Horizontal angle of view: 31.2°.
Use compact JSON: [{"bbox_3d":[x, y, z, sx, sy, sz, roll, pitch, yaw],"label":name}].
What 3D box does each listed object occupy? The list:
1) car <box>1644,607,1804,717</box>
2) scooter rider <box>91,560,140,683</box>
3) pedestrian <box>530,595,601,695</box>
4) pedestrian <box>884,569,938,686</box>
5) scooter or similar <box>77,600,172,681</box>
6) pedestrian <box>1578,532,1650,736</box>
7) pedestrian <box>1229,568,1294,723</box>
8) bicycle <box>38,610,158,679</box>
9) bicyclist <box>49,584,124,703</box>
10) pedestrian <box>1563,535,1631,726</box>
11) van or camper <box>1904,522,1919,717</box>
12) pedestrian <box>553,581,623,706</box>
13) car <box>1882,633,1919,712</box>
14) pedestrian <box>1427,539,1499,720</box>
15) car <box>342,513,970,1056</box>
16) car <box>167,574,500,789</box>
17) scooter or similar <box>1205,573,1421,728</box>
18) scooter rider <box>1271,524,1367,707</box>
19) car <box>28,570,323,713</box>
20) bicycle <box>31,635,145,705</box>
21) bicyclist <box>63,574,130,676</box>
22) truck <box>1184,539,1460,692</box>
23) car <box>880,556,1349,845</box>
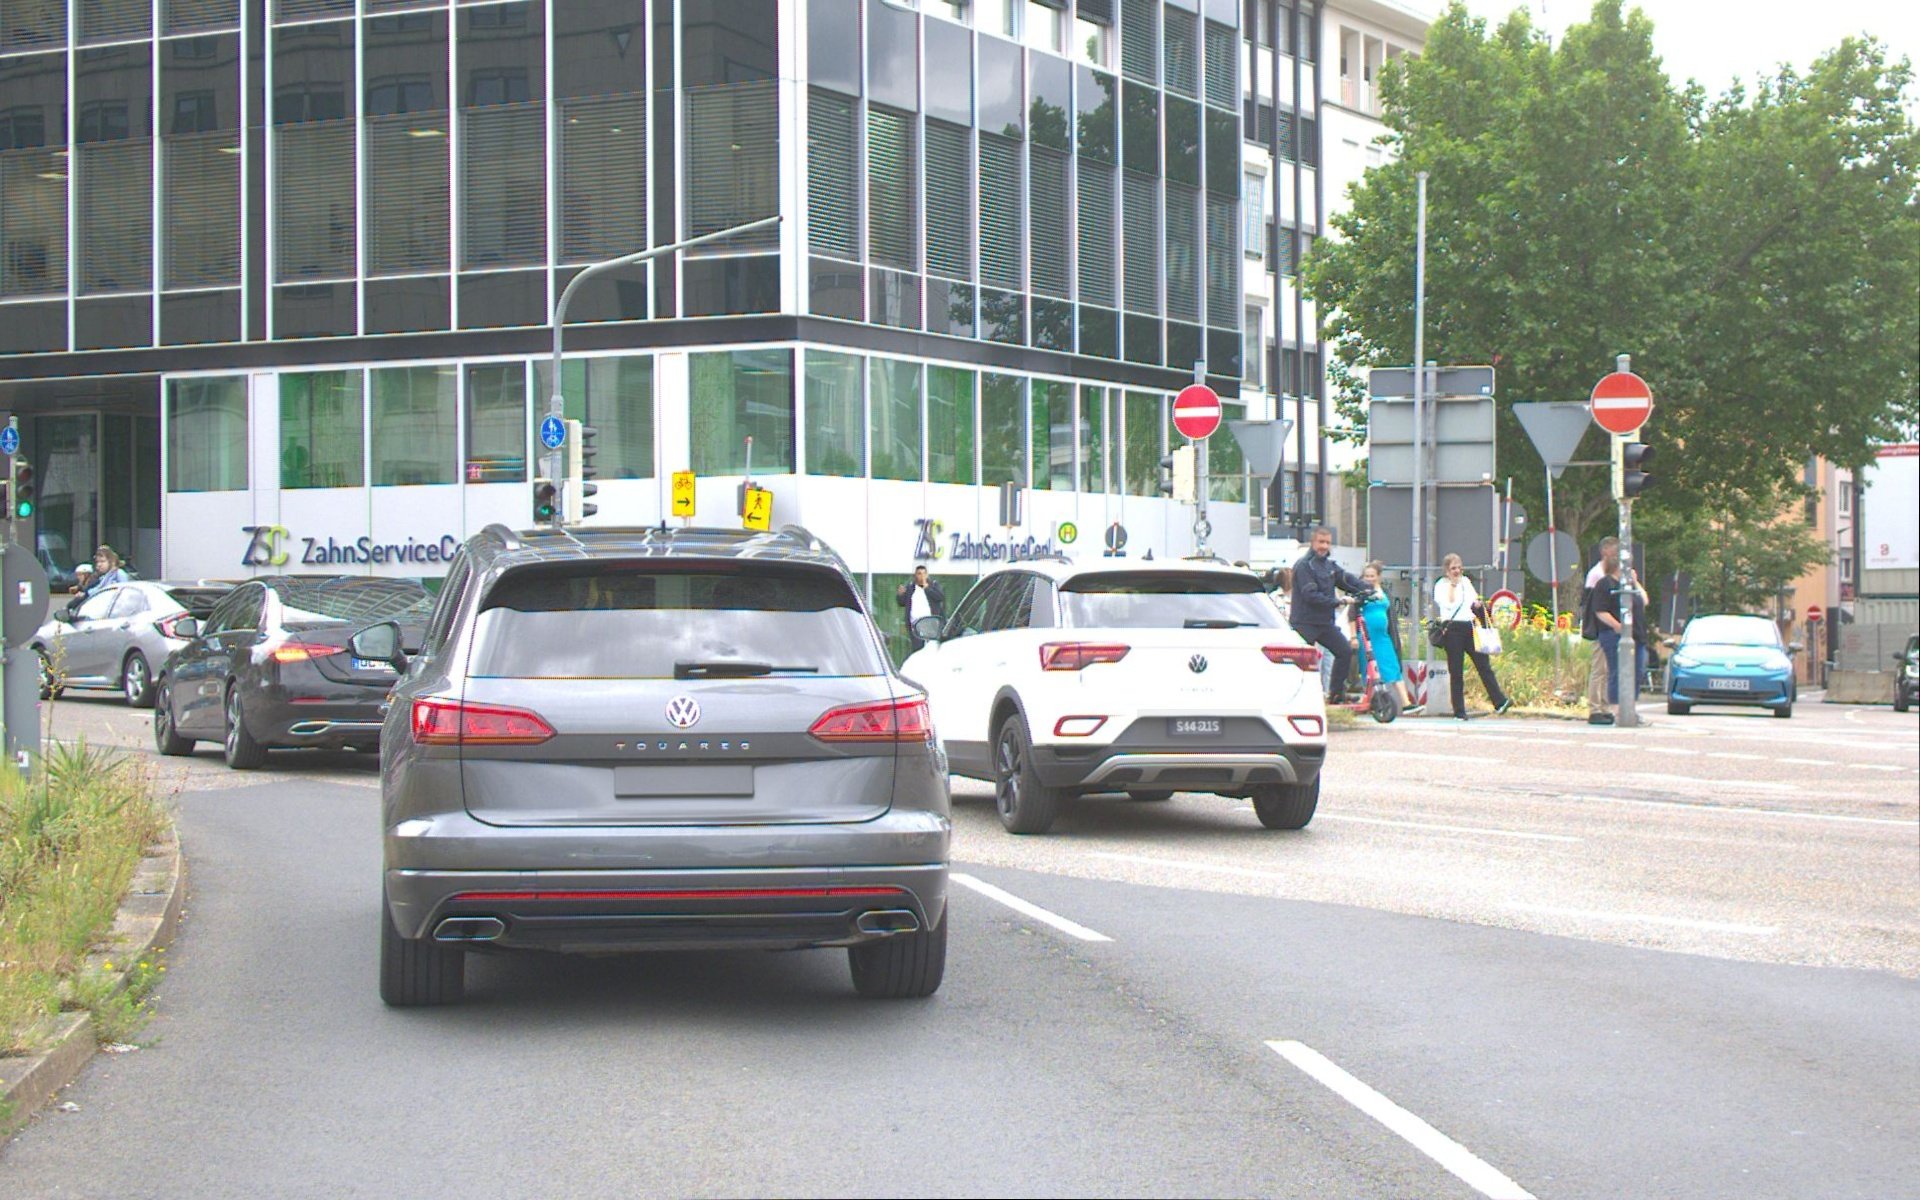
[{"bbox_3d":[11.452,0.895,51.793,1.943,1.477,4.627,0,1,7],"label":"car"},{"bbox_3d":[-12.488,0.310,50.859,0.641,1.802,0.593,0,0,-9],"label":"scooter rider"},{"bbox_3d":[-5.767,0.654,50.286,0.837,1.438,0.605,1,1,28],"label":"pedestrian"},{"bbox_3d":[-0.737,0.408,51.487,0.635,1.742,0.590,1,0,16],"label":"pedestrian"},{"bbox_3d":[-12.362,0.599,50.882,1.319,1.172,0.593,0,0,-9],"label":"scooter or similar"},{"bbox_3d":[6.366,0.328,33.458,0.641,1.948,0.610,1,0,13],"label":"pedestrian"},{"bbox_3d":[3.333,0.500,37.950,0.641,1.690,0.610,1,-1,9],"label":"pedestrian"},{"bbox_3d":[-13.042,0.671,52.043,1.664,1.023,0.581,0,0,4],"label":"bicycle"},{"bbox_3d":[-13.975,0.698,55.007,0.812,1.839,0.674,4,1,29],"label":"bicyclist"},{"bbox_3d":[6.459,0.307,34.869,0.641,1.904,0.610,1,0,9],"label":"pedestrian"},{"bbox_3d":[13.021,0.270,41.738,2.141,2.469,6.159,1,0,8],"label":"van or camper"},{"bbox_3d":[-5.113,0.586,47.211,0.801,1.692,0.546,1,0,42],"label":"pedestrian"},{"bbox_3d":[18.645,1.380,65.912,1.834,1.461,3.997,0,-1,15],"label":"car"},{"bbox_3d":[5.094,0.296,34.789,0.641,1.791,0.610,2,0,9],"label":"pedestrian"},{"bbox_3d":[-1.262,0.533,12.933,1.969,1.690,4.226,0,1,-9],"label":"car"},{"bbox_3d":[-4.757,0.554,25.663,1.833,1.391,4.149,2,0,-18],"label":"car"},{"bbox_3d":[3.327,0.468,32.343,1.883,1.402,0.776,1,0,17],"label":"scooter or similar"},{"bbox_3d":[3.381,0.142,32.334,0.744,1.688,0.765,1,0,17],"label":"scooter rider"},{"bbox_3d":[-8.942,0.442,38.956,1.833,1.427,4.147,2,0,-34],"label":"car"},{"bbox_3d":[-13.960,1.107,55.029,1.764,1.003,0.679,2,3,28],"label":"bicycle"},{"bbox_3d":[-13.066,0.375,52.040,0.844,1.544,0.565,0,0,4],"label":"bicyclist"},{"bbox_3d":[7.773,0.366,72.754,2.342,3.053,8.184,1,-1,33],"label":"truck"},{"bbox_3d":[0.804,0.530,20.470,1.797,1.540,3.936,0,0,-13],"label":"car"}]
